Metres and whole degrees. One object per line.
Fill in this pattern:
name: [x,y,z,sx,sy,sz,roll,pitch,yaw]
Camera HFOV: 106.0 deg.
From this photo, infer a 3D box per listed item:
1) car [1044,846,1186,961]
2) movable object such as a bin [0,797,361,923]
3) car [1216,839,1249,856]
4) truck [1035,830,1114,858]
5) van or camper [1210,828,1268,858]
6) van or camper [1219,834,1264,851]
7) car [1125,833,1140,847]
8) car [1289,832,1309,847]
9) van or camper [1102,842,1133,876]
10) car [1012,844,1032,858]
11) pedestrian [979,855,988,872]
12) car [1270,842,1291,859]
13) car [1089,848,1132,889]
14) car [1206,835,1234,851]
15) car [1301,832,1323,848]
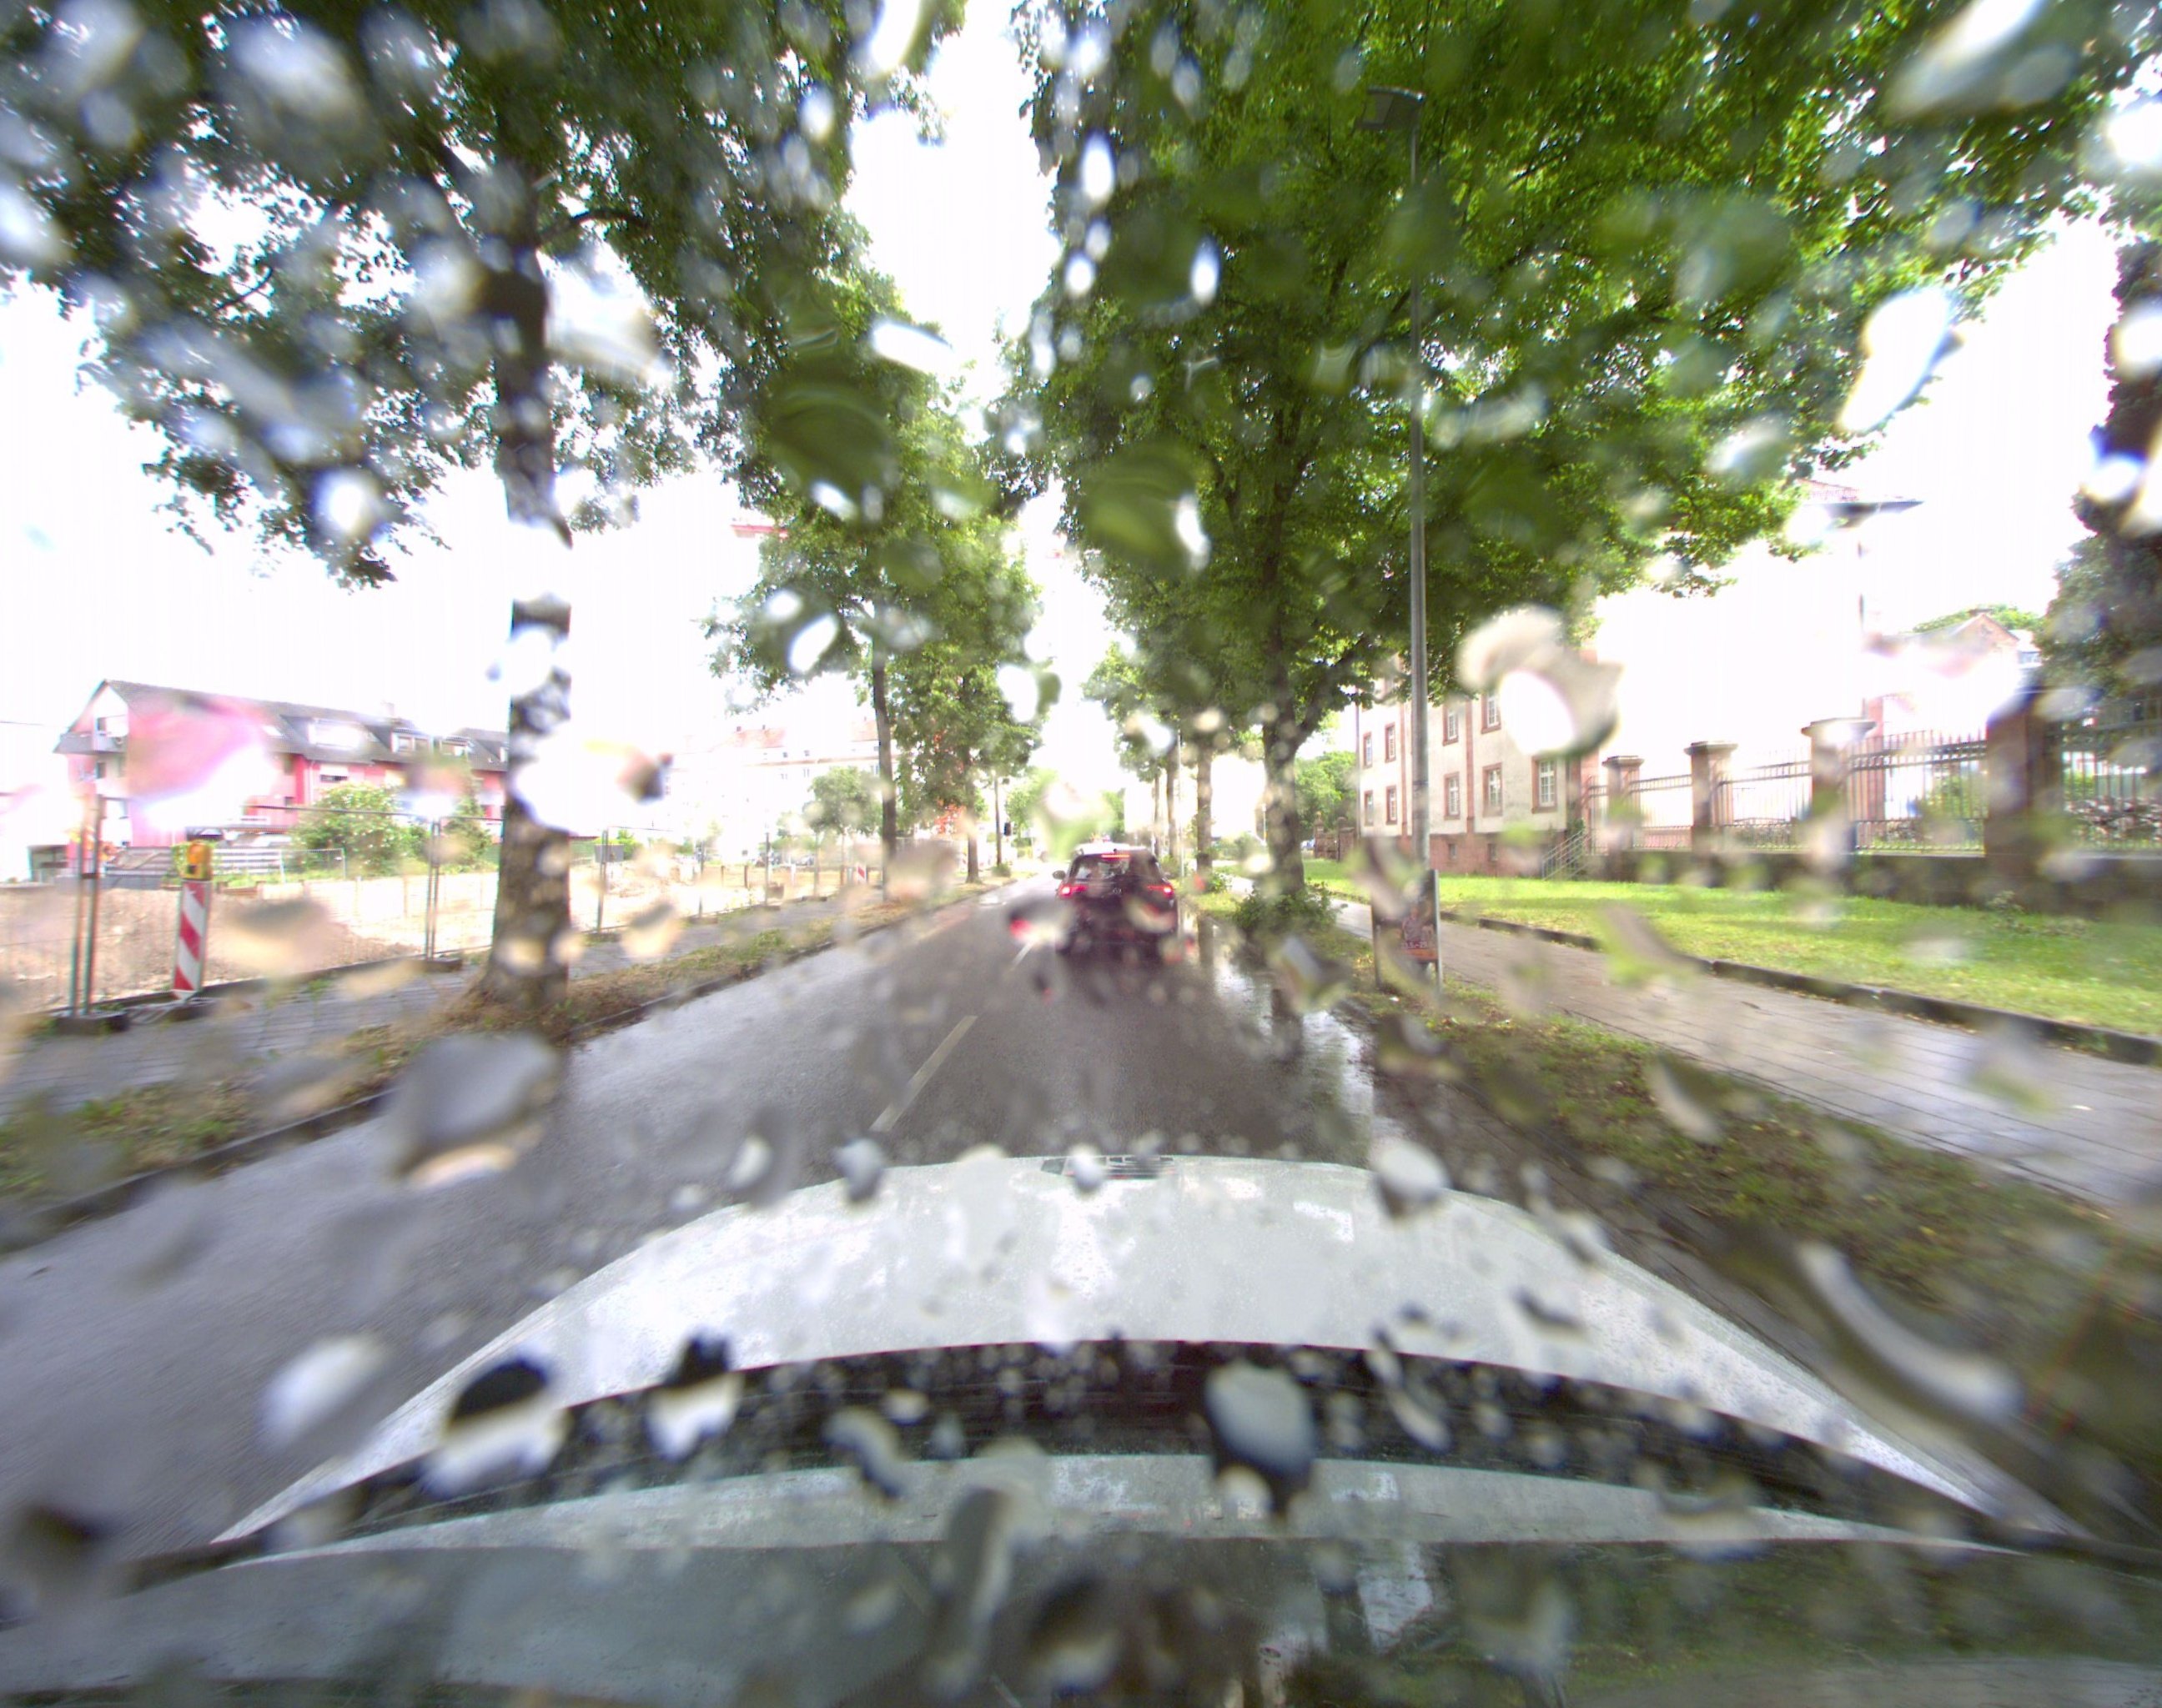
car: [0.519,0.653,12.984,1.888,1.522,4.002,-1,1,2]
movable object such as a bin: [-52.596,0.149,45.691,6.806,6.043,16.846,0,1,26]
car: [16.358,-0.707,88.063,3.387,1.781,1.764,-2,0,8]
truck: [-0.710,-1.022,80.517,8.137,2.656,2.831,1,2,44]
van or camper: [14.684,-1.044,75.902,5.015,2.595,2.168,-2,0,0]
van or camper: [18.345,-1.357,93.402,4.855,1.925,2.133,-1,1,2]
car: [7.710,-2.141,121.868,1.986,2.013,4.002,-1,0,2]
car: [29.576,-1.946,110.463,1.858,1.857,3.816,-4,0,6]
van or camper: [2.230,0.268,49.151,1.811,1.947,4.199,0,1,3]
car: [-7.246,-0.347,100.367,1.582,1.512,3.740,-4,1,8]
pedestrian: [-8.537,0.833,71.206,0.663,1.485,0.668,-1,1,-23]
car: [21.777,-0.364,89.068,1.733,1.684,3.879,-4,0,8]
car: [1.412,0.653,37.942,1.672,1.708,3.915,-4,0,5]
car: [17.634,-1.354,103.360,3.385,1.781,1.765,-4,0,10]
car: [30.488,-1.823,107.580,1.983,2.013,4.007,-4,0,6]
